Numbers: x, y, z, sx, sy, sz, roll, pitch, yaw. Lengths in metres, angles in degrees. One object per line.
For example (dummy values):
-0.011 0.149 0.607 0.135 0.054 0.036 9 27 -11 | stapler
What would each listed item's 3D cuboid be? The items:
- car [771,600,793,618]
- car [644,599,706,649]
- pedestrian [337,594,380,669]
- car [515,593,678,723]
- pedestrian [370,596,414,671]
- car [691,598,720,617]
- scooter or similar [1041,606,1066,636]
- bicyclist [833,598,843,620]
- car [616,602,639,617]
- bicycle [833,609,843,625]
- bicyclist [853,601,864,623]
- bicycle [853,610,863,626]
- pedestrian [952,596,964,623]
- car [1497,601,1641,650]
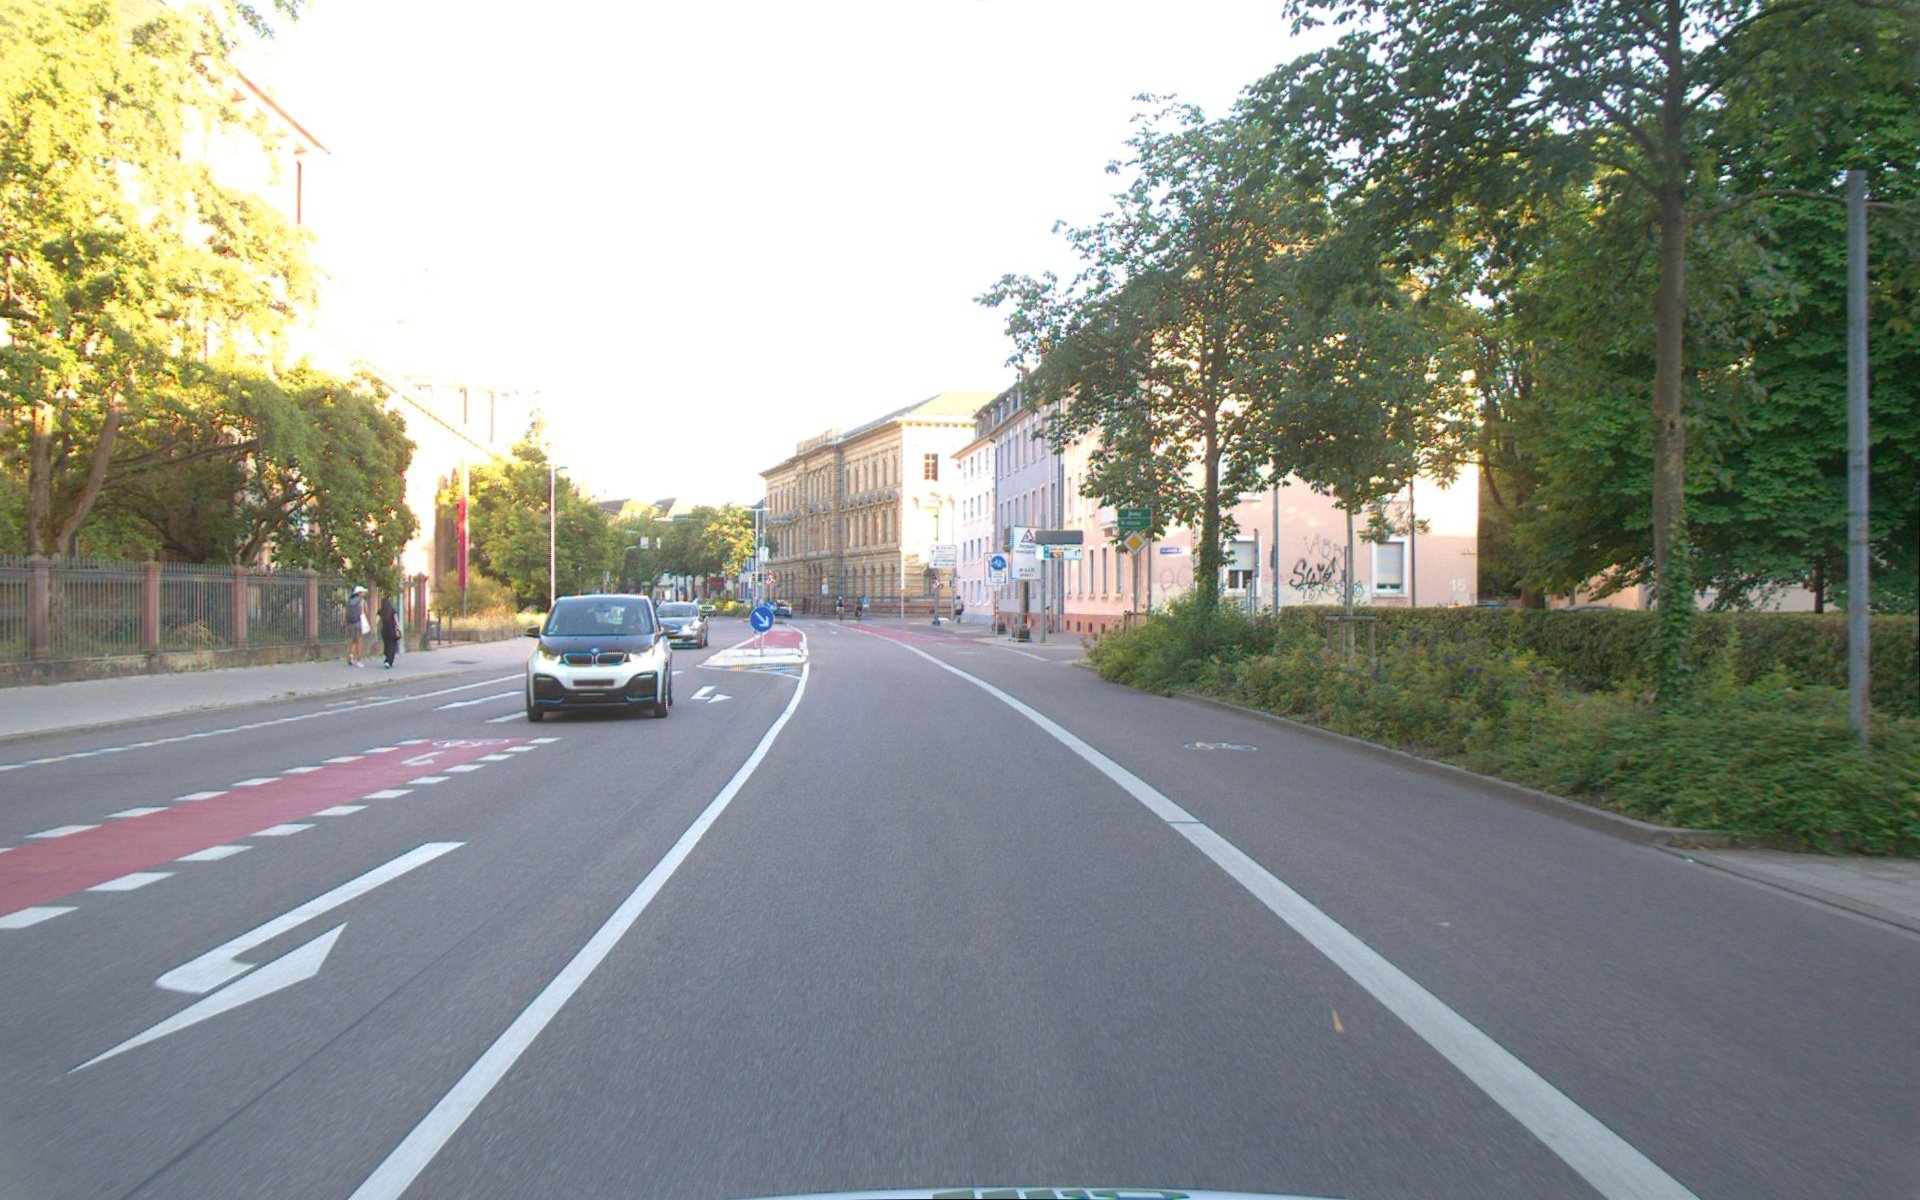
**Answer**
-15.326 0.752 142.461 1.832 1.536 3.994 1 0 -7 | car
-9.006 0.734 52.537 1.801 1.464 3.992 -2 0 -8 | car
-13.337 0.687 36.691 0.666 1.651 0.689 0 0 3 | pedestrian
-4.805 0.706 22.331 1.814 1.553 3.992 -1 0 -8 | car
-12.564 0.732 36.624 0.666 1.651 0.689 0 0 10 | pedestrian
-22.177 0.612 144.273 1.962 1.613 3.981 1 0 -17 | car
4.345 0.987 77.097 0.618 1.360 2.394 1 0 -10 | scooter or similar
-8.472 0.603 115.190 0.639 1.471 0.878 2 0 -4 | bicyclist
-36.384 1.060 180.957 1.963 1.613 3.979 1 0 -19 | car
-8.491 1.182 115.076 0.639 1.033 2.196 2 0 -4 | bicycle
-7.060 0.804 114.996 0.639 1.501 0.940 2 0 -5 | bicyclist
-7.086 1.246 114.991 0.639 1.033 2.195 2 0 -5 | bicycle
-0.128 0.624 107.875 0.746 1.785 0.845 0 0 1 | pedestrian
20.583 0.846 55.993 4.154 1.507 1.871 -2 0 1 | car
